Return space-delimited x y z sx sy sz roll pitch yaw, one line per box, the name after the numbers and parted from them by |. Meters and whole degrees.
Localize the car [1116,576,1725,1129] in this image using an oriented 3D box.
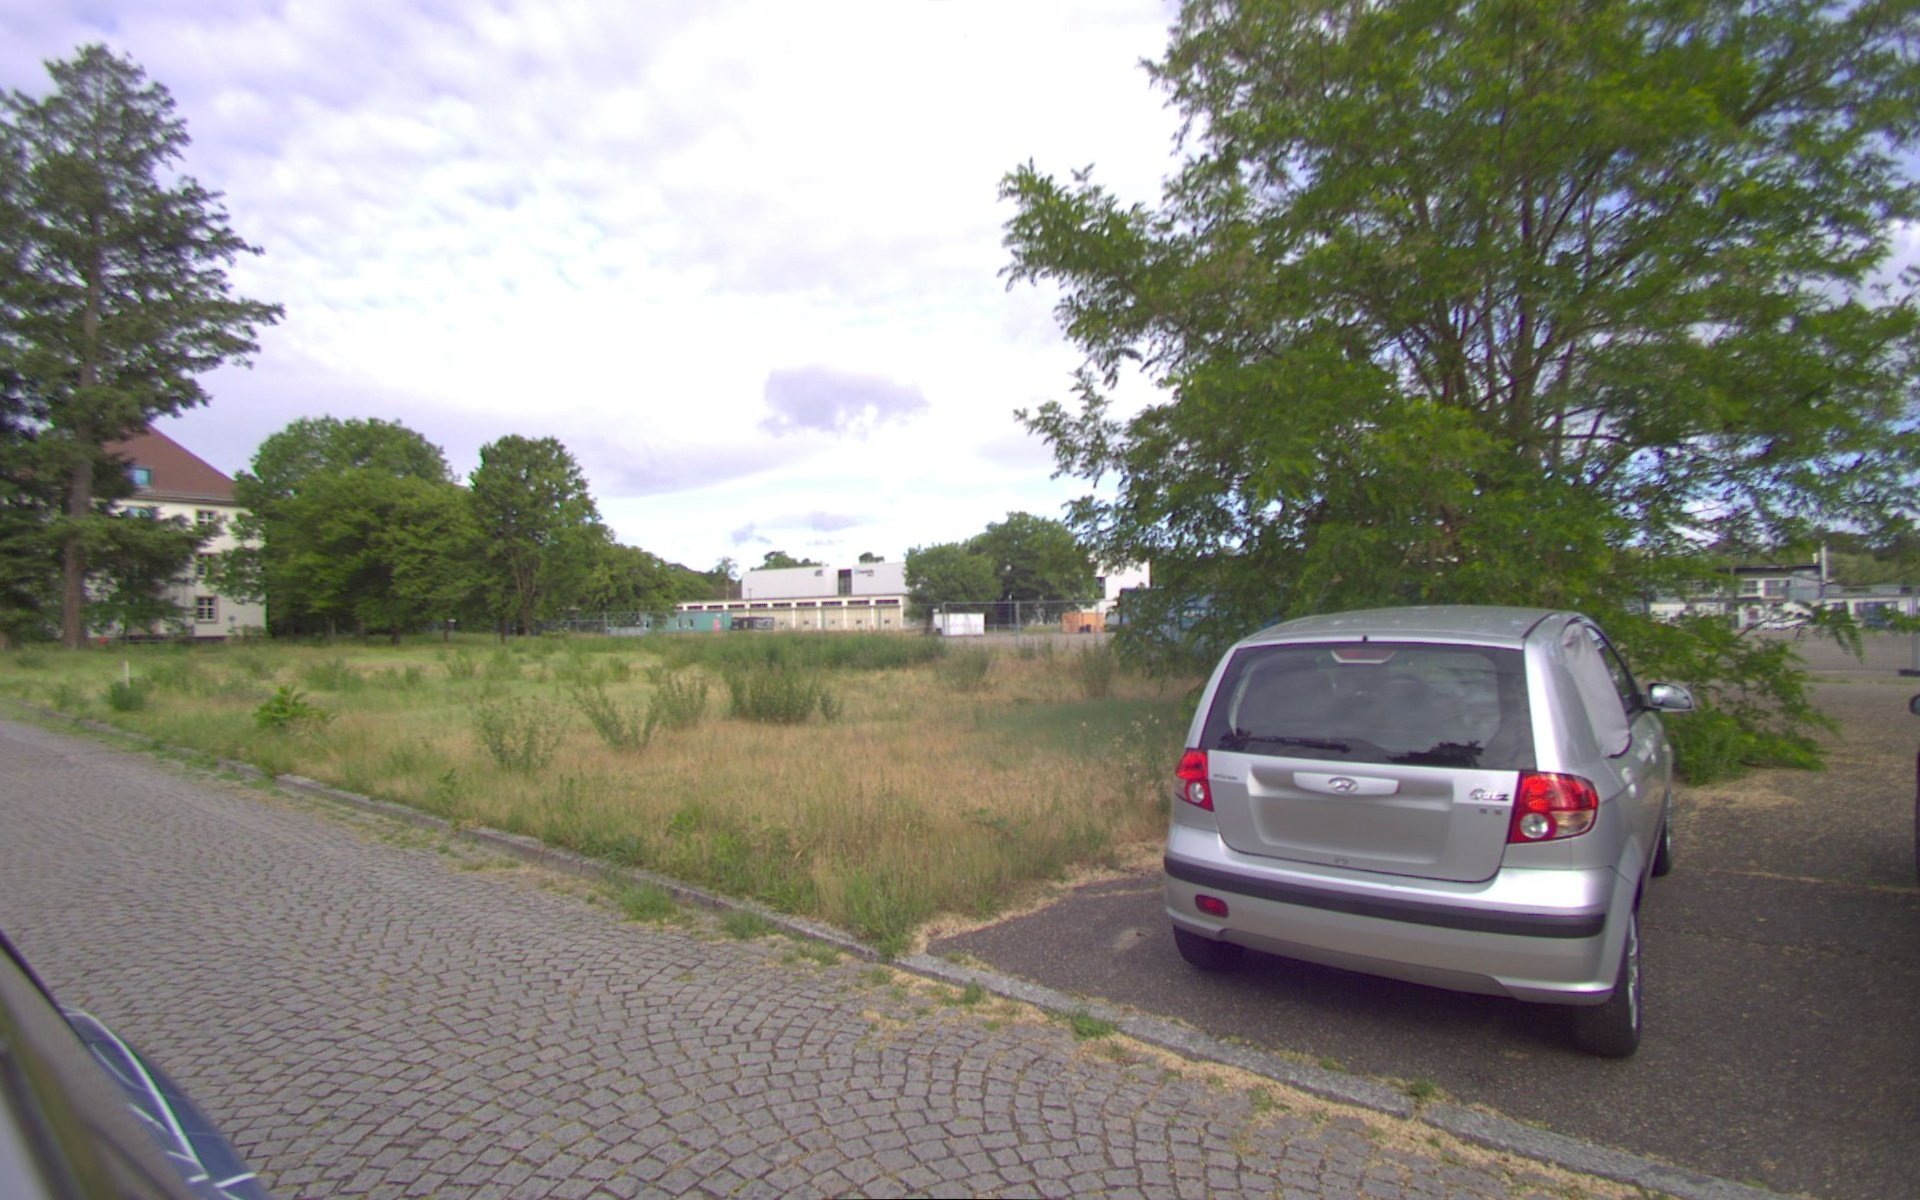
2.404 0.681 4.792 1.805 1.463 3.646 -2 1 36 | car
